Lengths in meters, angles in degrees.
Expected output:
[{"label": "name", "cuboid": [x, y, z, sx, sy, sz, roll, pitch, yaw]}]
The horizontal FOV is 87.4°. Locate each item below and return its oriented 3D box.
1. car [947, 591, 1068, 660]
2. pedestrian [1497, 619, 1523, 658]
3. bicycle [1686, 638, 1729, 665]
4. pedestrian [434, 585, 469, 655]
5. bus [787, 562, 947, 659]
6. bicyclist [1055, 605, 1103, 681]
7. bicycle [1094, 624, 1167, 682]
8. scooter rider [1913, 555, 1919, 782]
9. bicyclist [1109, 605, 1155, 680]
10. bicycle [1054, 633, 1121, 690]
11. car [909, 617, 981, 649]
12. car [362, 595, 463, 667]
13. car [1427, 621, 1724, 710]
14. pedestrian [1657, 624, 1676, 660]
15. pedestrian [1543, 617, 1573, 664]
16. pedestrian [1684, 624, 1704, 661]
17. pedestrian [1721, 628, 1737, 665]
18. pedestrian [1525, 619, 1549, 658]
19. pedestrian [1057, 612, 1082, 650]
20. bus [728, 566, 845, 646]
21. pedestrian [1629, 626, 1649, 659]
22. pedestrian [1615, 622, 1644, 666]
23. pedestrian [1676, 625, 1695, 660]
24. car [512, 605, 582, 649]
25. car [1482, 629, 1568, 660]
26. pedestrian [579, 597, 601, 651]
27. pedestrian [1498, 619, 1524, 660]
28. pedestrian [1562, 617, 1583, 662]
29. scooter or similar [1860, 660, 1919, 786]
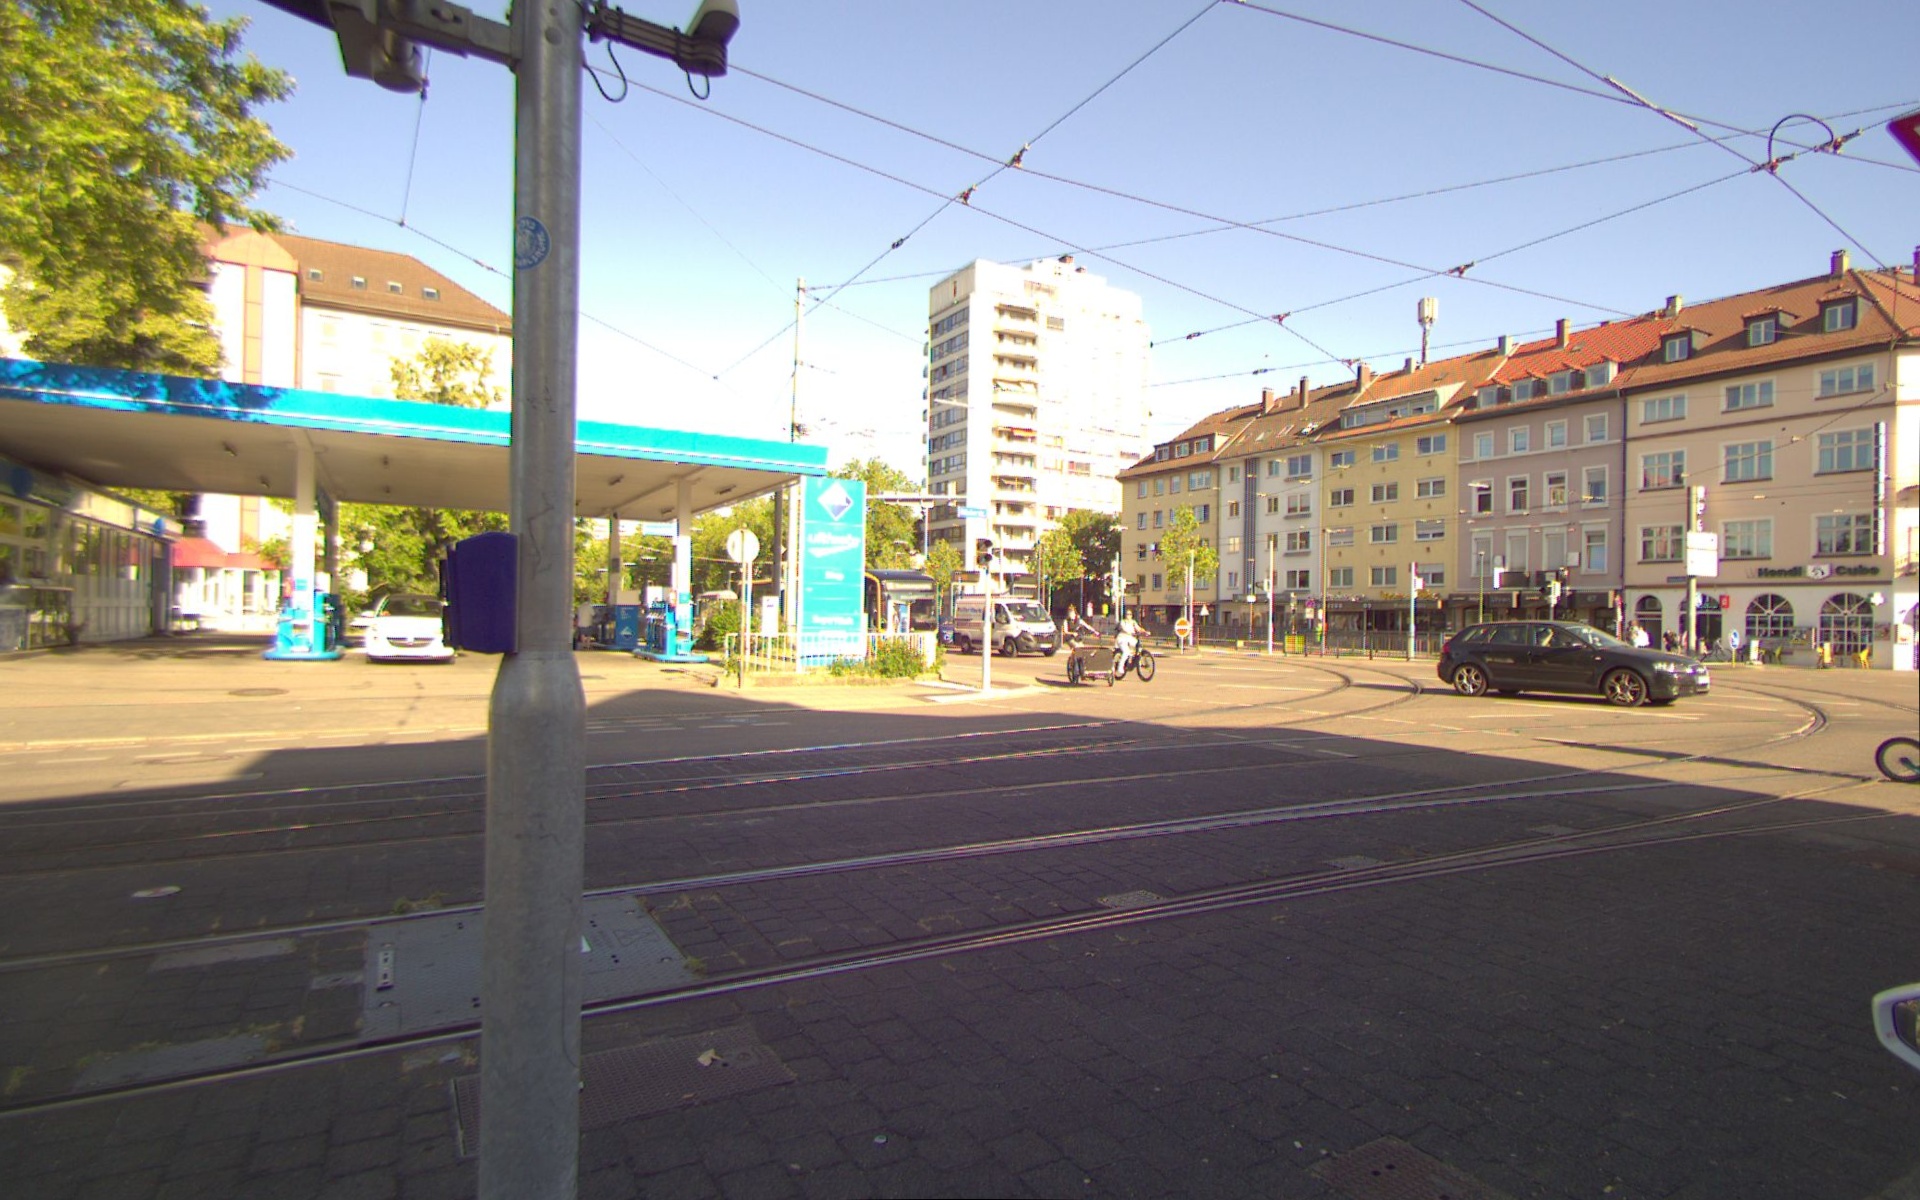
[{"label": "car", "cuboid": [1.737, 0.928, 38.615, 2.059, 2.465, 5.079, 0, 0, -34]}, {"label": "pedestrian", "cuboid": [24.178, 1.679, 44.155, 0.621, 1.704, 0.763, 1, -1, -30]}, {"label": "bicycle", "cuboid": [37.575, 2.595, 50.501, 1.693, 1.293, 0.385, 0, -1, 44]}, {"label": "pedestrian", "cuboid": [-12.628, 0.497, 24.945, 0.751, 1.715, 0.583, 1, -1, -28]}, {"label": "bus", "cuboid": [-4.037, 0.321, 40.886, 2.748, 3.504, 9.364, 0, 1, -31]}, {"label": "bicyclist", "cuboid": [2.680, 0.953, 22.653, 0.916, 1.659, 1.028, 1, 0, -2]}, {"label": "bicycle", "cuboid": [4.033, 1.253, 23.871, 0.616, 1.316, 1.931, 1, -2, -31]}, {"label": "scooter rider", "cuboid": [8.723, 0.592, 8.483, 0.788, 1.937, 0.791, 1, 0, -30]}, {"label": "bicyclist", "cuboid": [4.083, 1.011, 23.919, 0.725, 1.737, 0.794, 1, -2, -31]}, {"label": "bicycle", "cuboid": [2.775, 1.326, 22.138, 1.039, 1.116, 2.519, 1, -1, -3]}, {"label": "car", "cuboid": [-0.778, 1.530, 47.875, 1.697, 1.439, 4.149, 1, -1, -28]}, {"label": "car", "cuboid": [-12.363, 0.669, 22.564, 1.793, 1.461, 3.966, 1, -1, -31]}, {"label": "car", "cuboid": [10.813, 1.076, 17.938, 1.630, 1.399, 4.241, 1, -2, -36]}, {"label": "pedestrian", "cuboid": [33.899, 2.023, 48.181, 0.731, 1.704, 0.626, 0, -1, 35]}, {"label": "pedestrian", "cuboid": [23.785, 1.604, 39.969, 0.714, 1.853, 0.763, 1, -1, -30]}, {"label": "pedestrian", "cuboid": [34.361, 1.975, 47.019, 0.731, 1.704, 0.626, 0, -1, 35]}, {"label": "pedestrian", "cuboid": [26.958, 1.631, 35.193, 0.447, 1.270, 0.361, 1, -1, -41]}, {"label": "pedestrian", "cuboid": [24.205, 1.615, 42.119, 0.554, 1.602, 0.694, 1, -1, -35]}, {"label": "pedestrian", "cuboid": [4.764, 1.333, 43.695, 0.788, 1.632, 0.766, 1, -1, -36]}, {"label": "bus", "cuboid": [-8.563, 0.202, 48.628, 2.755, 3.504, 8.571, 0, 1, -30]}, {"label": "pedestrian", "cuboid": [35.801, 2.224, 52.957, 0.623, 1.704, 0.734, 1, -1, -41]}, {"label": "pedestrian", "cuboid": [26.534, 1.731, 39.824, 0.621, 1.704, 0.737, 1, -1, -30]}, {"label": "pedestrian", "cuboid": [36.225, 2.102, 50.159, 0.731, 1.704, 0.626, 0, -1, 35]}, {"label": "car", "cuboid": [-13.582, 0.854, 32.885, 1.697, 1.360, 3.970, 1, -1, -28]}, {"label": "car", "cuboid": [30.741, 2.398, 54.781, 1.795, 1.511, 3.715, 2, 0, -27]}, {"label": "pedestrian", "cuboid": [-11.863, 0.764, 32.207, 0.579, 1.715, 0.756, 1, -1, -25]}, {"label": "pedestrian", "cuboid": [22.738, 1.633, 41.463, 0.565, 1.657, 0.737, 1, -1, -30]}, {"label": "pedestrian", "cuboid": [24.900, 1.602, 40.858, 0.554, 1.810, 0.556, 1, -1, -35]}, {"label": "scooter or similar", "cuboid": [8.666, 1.075, 8.530, 0.558, 1.057, 1.424, 1, -1, -30]}]
